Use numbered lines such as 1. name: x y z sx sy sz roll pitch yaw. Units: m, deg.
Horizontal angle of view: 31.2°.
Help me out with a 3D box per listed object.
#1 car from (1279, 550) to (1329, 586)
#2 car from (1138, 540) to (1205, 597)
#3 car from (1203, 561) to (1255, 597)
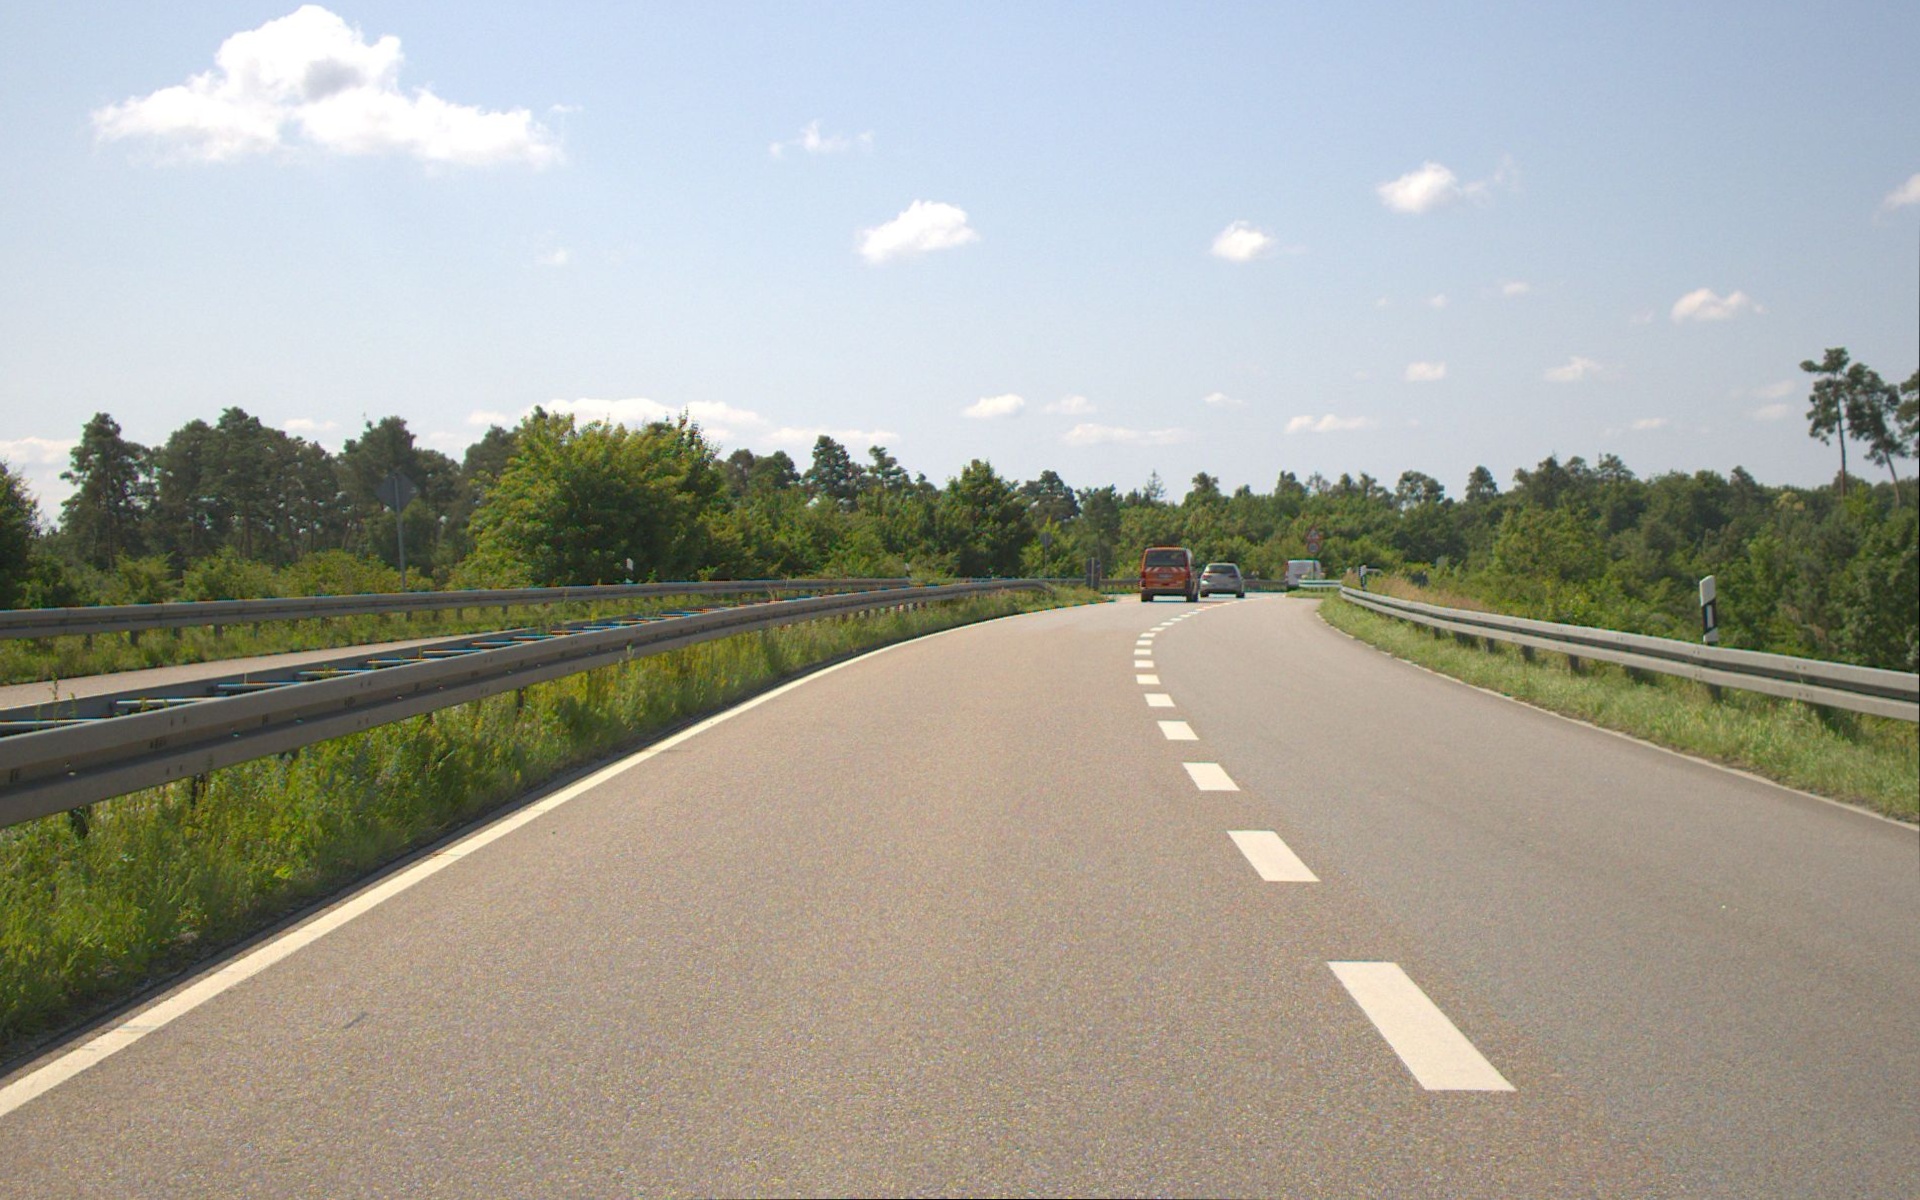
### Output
1. car: 19.885 -1.824 198.512 2.186 1.948 5.800 1 0 12
2. car: 7.686 -1.122 124.743 2.078 1.986 5.110 1 0 7
3. car: 11.468 -0.888 146.215 2.008 1.489 4.237 1 0 7
